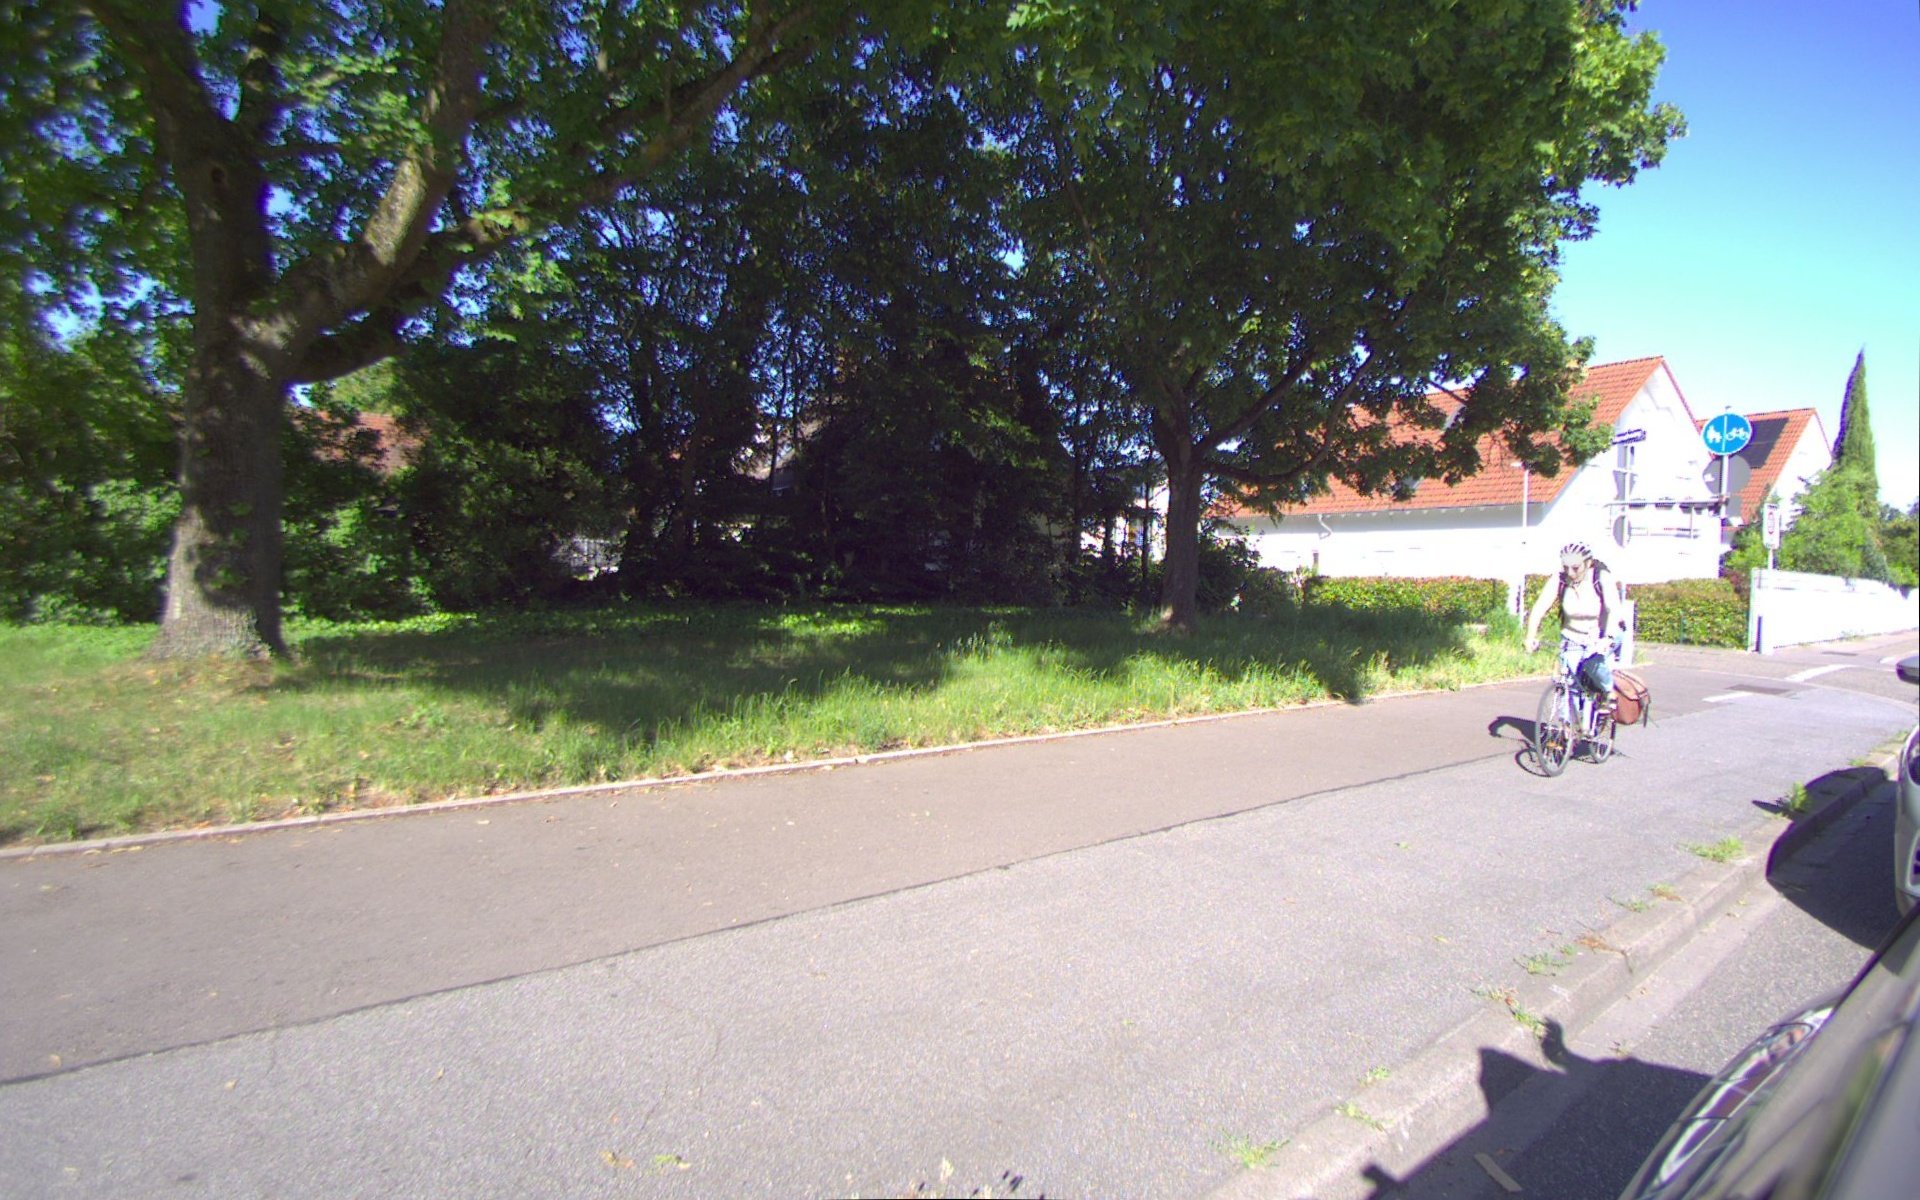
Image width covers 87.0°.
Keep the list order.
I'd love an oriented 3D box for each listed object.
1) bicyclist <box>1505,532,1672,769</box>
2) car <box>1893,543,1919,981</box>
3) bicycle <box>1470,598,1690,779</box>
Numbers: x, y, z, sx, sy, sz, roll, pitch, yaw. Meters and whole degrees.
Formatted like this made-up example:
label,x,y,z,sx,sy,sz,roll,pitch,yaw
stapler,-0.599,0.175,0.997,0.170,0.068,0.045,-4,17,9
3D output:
label,x,y,z,sx,sy,sz,roll,pitch,yaw
bicyclist,4.735,0.348,7.627,0.963,1.652,0.632,1,4,-36
car,5.704,0.583,4.548,4.222,1.636,1.764,-1,0,-41
bicycle,4.694,0.607,7.599,2.100,1.169,0.576,1,4,-36
